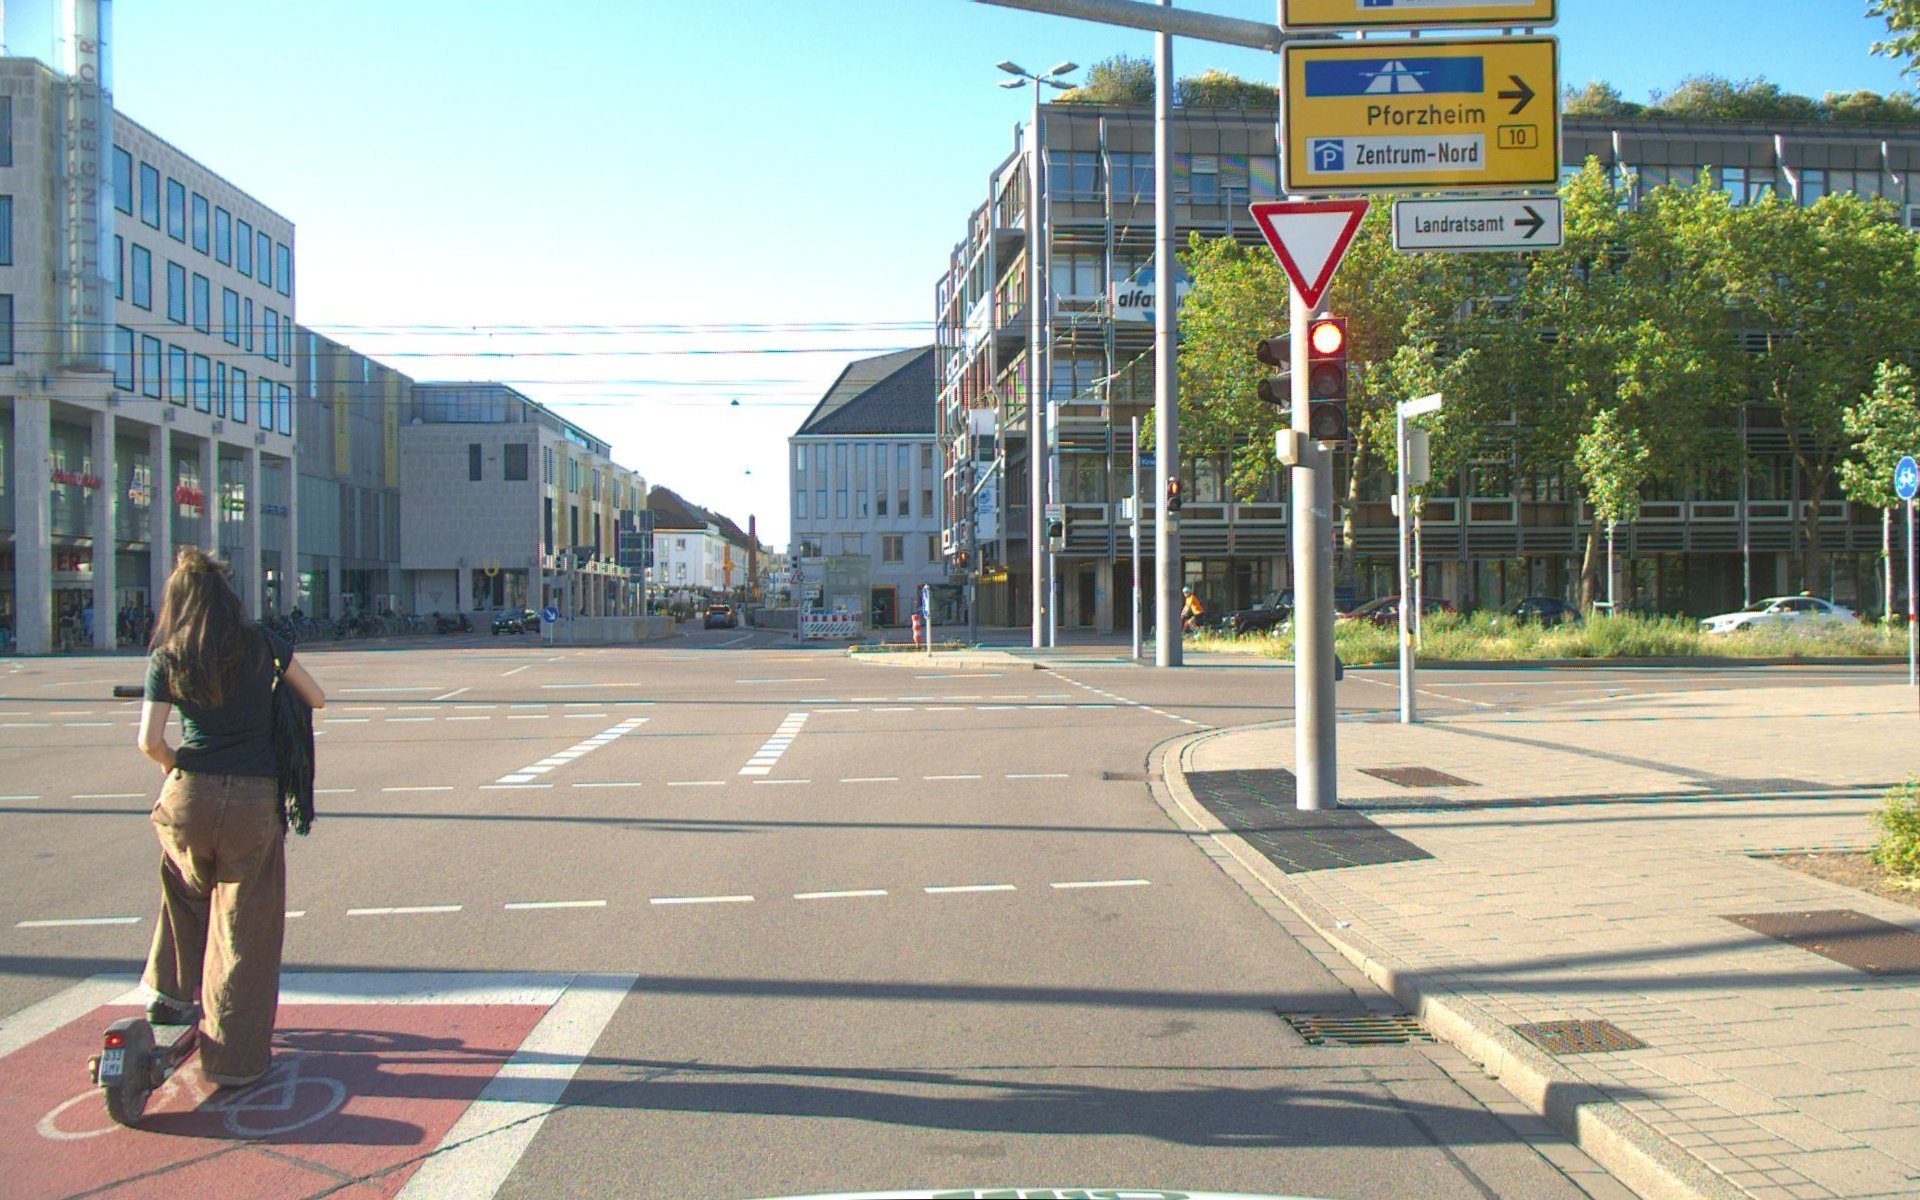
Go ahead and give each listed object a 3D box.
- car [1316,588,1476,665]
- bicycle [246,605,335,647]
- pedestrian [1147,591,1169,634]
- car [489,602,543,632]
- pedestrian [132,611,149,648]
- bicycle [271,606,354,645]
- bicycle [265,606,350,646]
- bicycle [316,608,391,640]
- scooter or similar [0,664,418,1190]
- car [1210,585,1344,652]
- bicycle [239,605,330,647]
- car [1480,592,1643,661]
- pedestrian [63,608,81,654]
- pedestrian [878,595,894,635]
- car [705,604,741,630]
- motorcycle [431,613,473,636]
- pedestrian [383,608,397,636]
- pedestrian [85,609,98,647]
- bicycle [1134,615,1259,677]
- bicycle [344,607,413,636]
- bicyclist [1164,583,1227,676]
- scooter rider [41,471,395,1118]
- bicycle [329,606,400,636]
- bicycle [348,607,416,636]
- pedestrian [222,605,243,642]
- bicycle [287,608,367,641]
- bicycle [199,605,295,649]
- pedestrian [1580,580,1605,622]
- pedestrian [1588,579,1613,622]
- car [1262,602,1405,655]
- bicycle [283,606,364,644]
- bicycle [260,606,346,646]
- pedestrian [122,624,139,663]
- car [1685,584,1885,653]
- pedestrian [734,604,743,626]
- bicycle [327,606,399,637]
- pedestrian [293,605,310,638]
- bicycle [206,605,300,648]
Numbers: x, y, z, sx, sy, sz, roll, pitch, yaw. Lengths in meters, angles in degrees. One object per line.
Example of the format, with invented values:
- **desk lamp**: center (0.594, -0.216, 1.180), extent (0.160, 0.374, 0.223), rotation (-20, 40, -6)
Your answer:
- **car**: center (12.233, 0.734, 46.580), extent (3.908, 2.049, 1.999), rotation (1, 0, -3)
- **bicycle**: center (-29.096, 1.123, 71.926), extent (3.427, 1.726, 1.114), rotation (-1, 0, -10)
- **pedestrian**: center (7.915, 0.500, 66.213), extent (0.715, 1.687, 0.649), rotation (-1, 0, -8)
- **car**: center (-24.101, 0.906, 89.936), extent (1.953, 1.512, 3.999), rotation (-1, 0, -2)
- **pedestrian**: center (-34.784, 1.262, 70.170), extent (0.472, 1.537, 0.513), rotation (-1, 0, -5)
- **bicycle**: center (-30.037, 1.179, 76.783), extent (3.430, 1.726, 0.984), rotation (-1, 0, -12)
- **bicycle**: center (-29.796, 1.178, 75.583), extent (3.430, 1.726, 0.984), rotation (-1, 0, -12)
- **bicycle**: center (-30.882, 1.212, 84.267), extent (3.430, 1.554, 0.984), rotation (-1, 0, -12)
- **scooter or similar**: center (-2.229, 0.838, 4.906), extent (0.713, 1.223, 1.664), rotation (0, 0, -1)
- **car**: center (10.306, 0.599, 53.921), extent (3.908, 2.049, 1.999), rotation (1, 0, -3)
- **bicycle**: center (-28.866, 1.087, 70.714), extent (3.427, 1.726, 1.114), rotation (-1, 0, -10)
- **car**: center (18.829, 0.822, 51.881), extent (4.359, 2.049, 1.998), rotation (1, 0, -6)
- **pedestrian**: center (-32.456, 1.116, 60.454), extent (0.535, 1.671, 0.544), rotation (-1, 0, -33)
- **pedestrian**: center (-3.117, 0.623, 69.380), extent (0.650, 1.687, 0.755), rotation (-1, 0, -4)
- **car**: center (-15.495, 1.096, 108.164), extent (2.157, 1.635, 4.320), rotation (-1, 0, -6)
- **motorcycle**: center (-29.952, 1.435, 97.595), extent (2.230, 1.341, 0.719), rotation (-1, 0, -6)
- **pedestrian**: center (-34.301, 1.344, 99.518), extent (0.684, 1.671, 0.693), rotation (-1, 0, -12)
- **pedestrian**: center (-36.688, 1.176, 69.856), extent (0.379, 1.613, 0.367), rotation (-1, 0, -6)
- **bicycle**: center (6.750, 1.302, 47.224), extent (3.427, 1.688, 0.929), rotation (-1, 0, -10)
- **bicycle**: center (-31.782, 1.167, 90.401), extent (3.430, 1.554, 0.984), rotation (-1, 0, -12)
- **bicyclist**: center (6.720, 0.833, 47.224), extent (1.539, 2.625, 0.930), rotation (-1, 0, -10)
- **scooter rider**: center (-2.210, 0.541, 5.027), extent (0.713, 1.806, 0.811), rotation (0, 0, -1)
- **bicycle**: center (-31.387, 1.108, 87.245), extent (3.430, 1.554, 0.984), rotation (-1, 0, -12)
- **bicycle**: center (-31.945, 1.197, 91.426), extent (3.430, 1.554, 0.984), rotation (-1, 0, -12)
- **pedestrian**: center (-32.950, 1.053, 74.890), extent (0.776, 1.671, 0.688), rotation (-1, 0, -30)
- **bicycle**: center (-30.540, 1.171, 79.857), extent (3.430, 1.554, 0.984), rotation (-1, 0, -12)
- **bicycle**: center (-29.320, 1.113, 68.034), extent (3.427, 1.726, 1.114), rotation (-1, 0, -10)
- **pedestrian**: center (25.620, 0.032, 67.013), extent (0.651, 1.687, 0.740), rotation (-1, 0, -8)
- **pedestrian**: center (25.624, 0.028, 66.141), extent (0.651, 1.687, 0.740), rotation (-1, 0, -8)
- **car**: center (11.441, 0.865, 50.817), extent (3.908, 1.534, 1.867), rotation (1, 0, -4)
- **bicycle**: center (-30.335, 1.188, 78.868), extent (3.430, 1.726, 0.984), rotation (-1, 0, -12)
- **bicycle**: center (-29.572, 1.168, 74.495), extent (3.430, 1.726, 0.984), rotation (-1, 0, -12)
- **pedestrian**: center (-34.835, 1.809, 69.449), extent (0.472, 1.613, 0.513), rotation (-1, 0, -5)
- **car**: center (26.174, 0.579, 52.577), extent (5.332, 2.049, 2.096), rotation (1, 0, -3)
- **pedestrian**: center (-14.461, 0.974, 108.006), extent (0.598, 1.436, 0.569), rotation (-1, 0, -7)
- **bicycle**: center (-31.070, 1.120, 86.129), extent (3.430, 1.554, 0.984), rotation (-1, 0, -12)
- **pedestrian**: center (-33.266, 1.085, 83.589), extent (0.641, 1.671, 0.693), rotation (-1, 0, -9)
- **bicycle**: center (-29.549, 1.098, 69.210), extent (3.427, 1.726, 1.114), rotation (-1, 0, -10)
